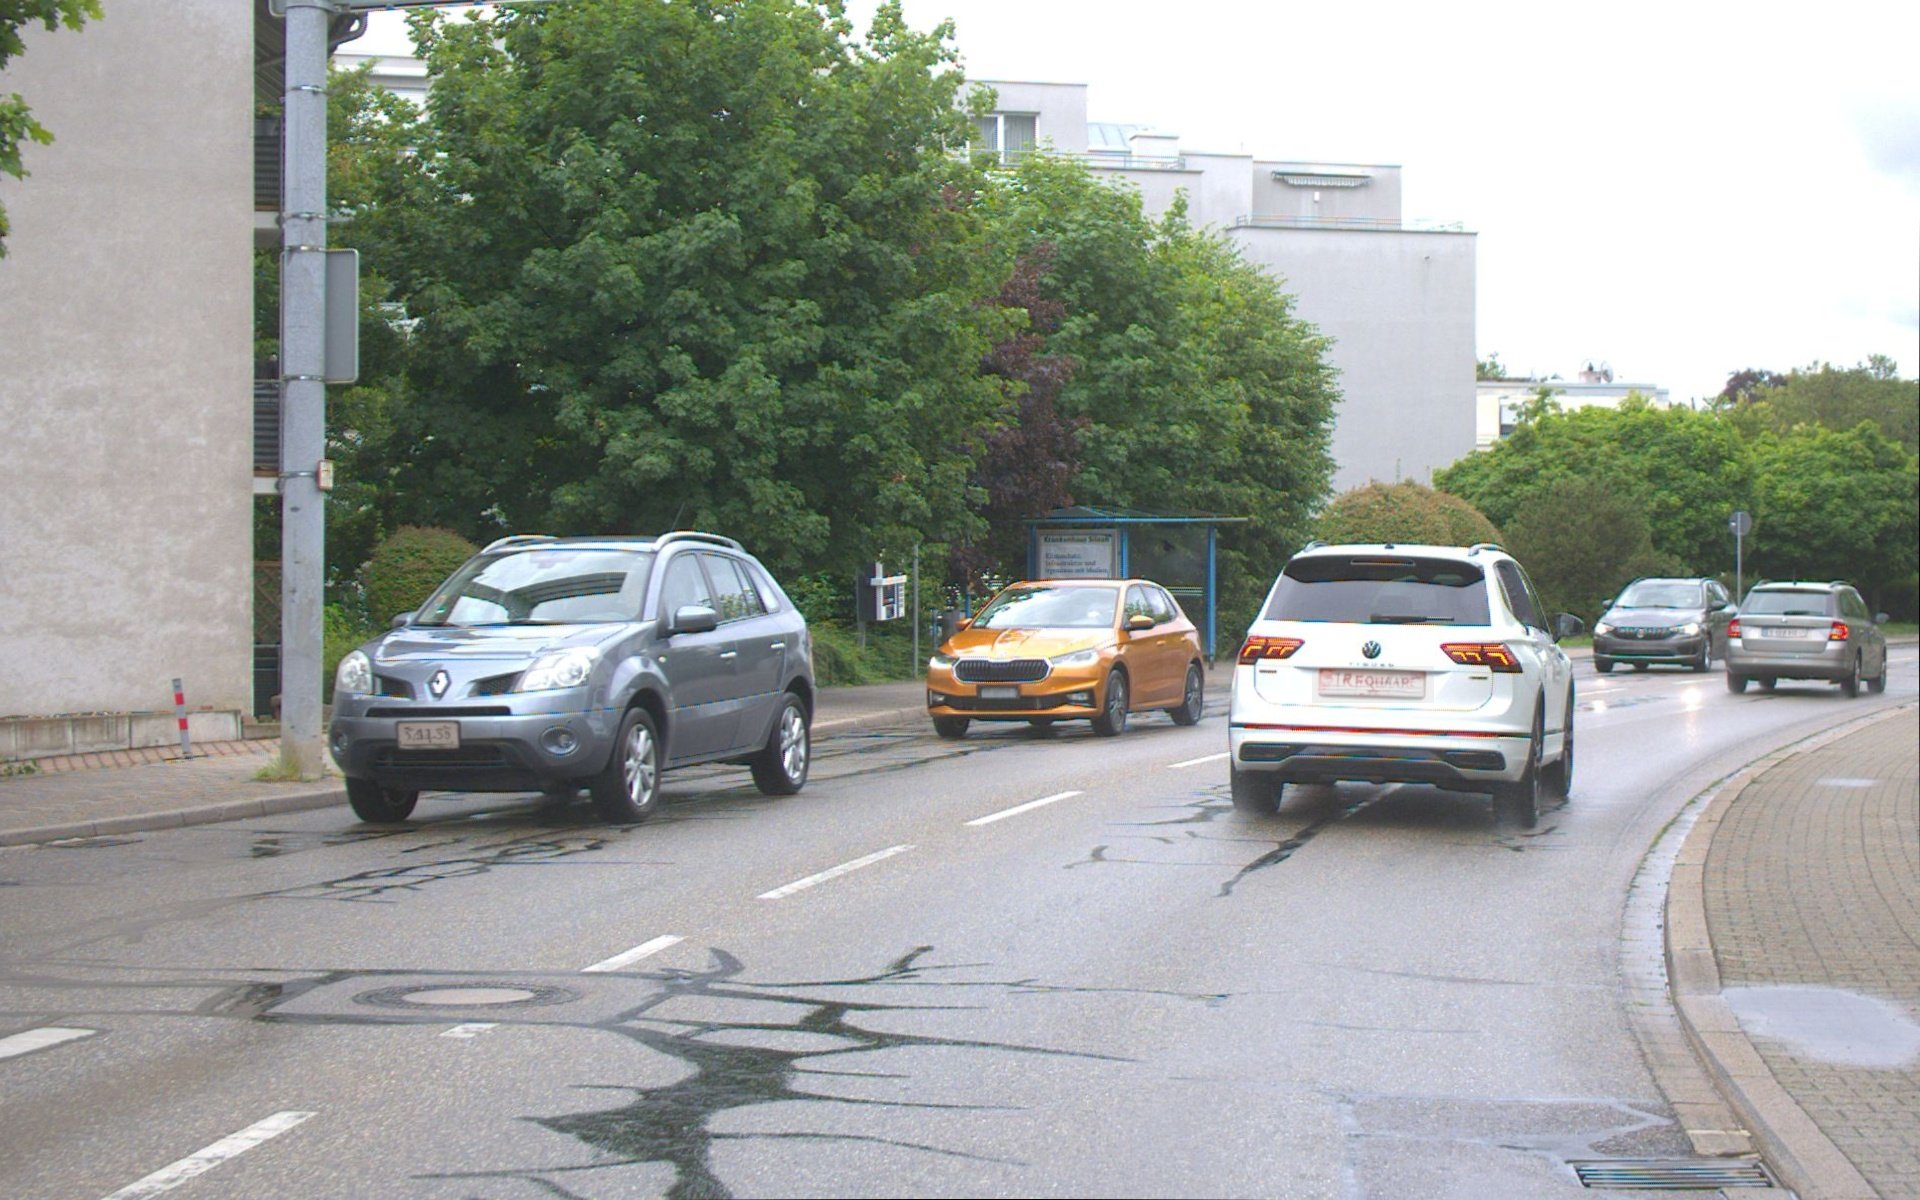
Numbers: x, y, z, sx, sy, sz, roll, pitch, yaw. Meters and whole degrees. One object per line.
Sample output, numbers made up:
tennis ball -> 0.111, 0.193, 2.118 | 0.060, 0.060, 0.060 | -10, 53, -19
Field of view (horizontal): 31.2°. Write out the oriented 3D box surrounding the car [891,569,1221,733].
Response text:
car -> 0.982, 0.444, 32.363 | 1.903, 1.434, 4.111 | 0, 0, 20

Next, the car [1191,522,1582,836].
car -> 2.794, 0.425, 21.683 | 1.922, 1.716, 4.262 | 2, 1, 14

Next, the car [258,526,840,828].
car -> -2.381, 0.396, 21.129 | 1.903, 1.651, 4.262 | 0, 1, 19

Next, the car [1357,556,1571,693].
car -> 6.474, 0.297, 43.830 | 1.903, 1.651, 4.111 | 0, 0, 20

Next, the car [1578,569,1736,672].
car -> 11.238, 0.311, 55.253 | 1.903, 1.584, 4.111 | 0, 0, 20

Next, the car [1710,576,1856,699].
car -> 10.862, 0.523, 45.286 | 1.766, 1.505, 3.997 | 1, -2, 14
